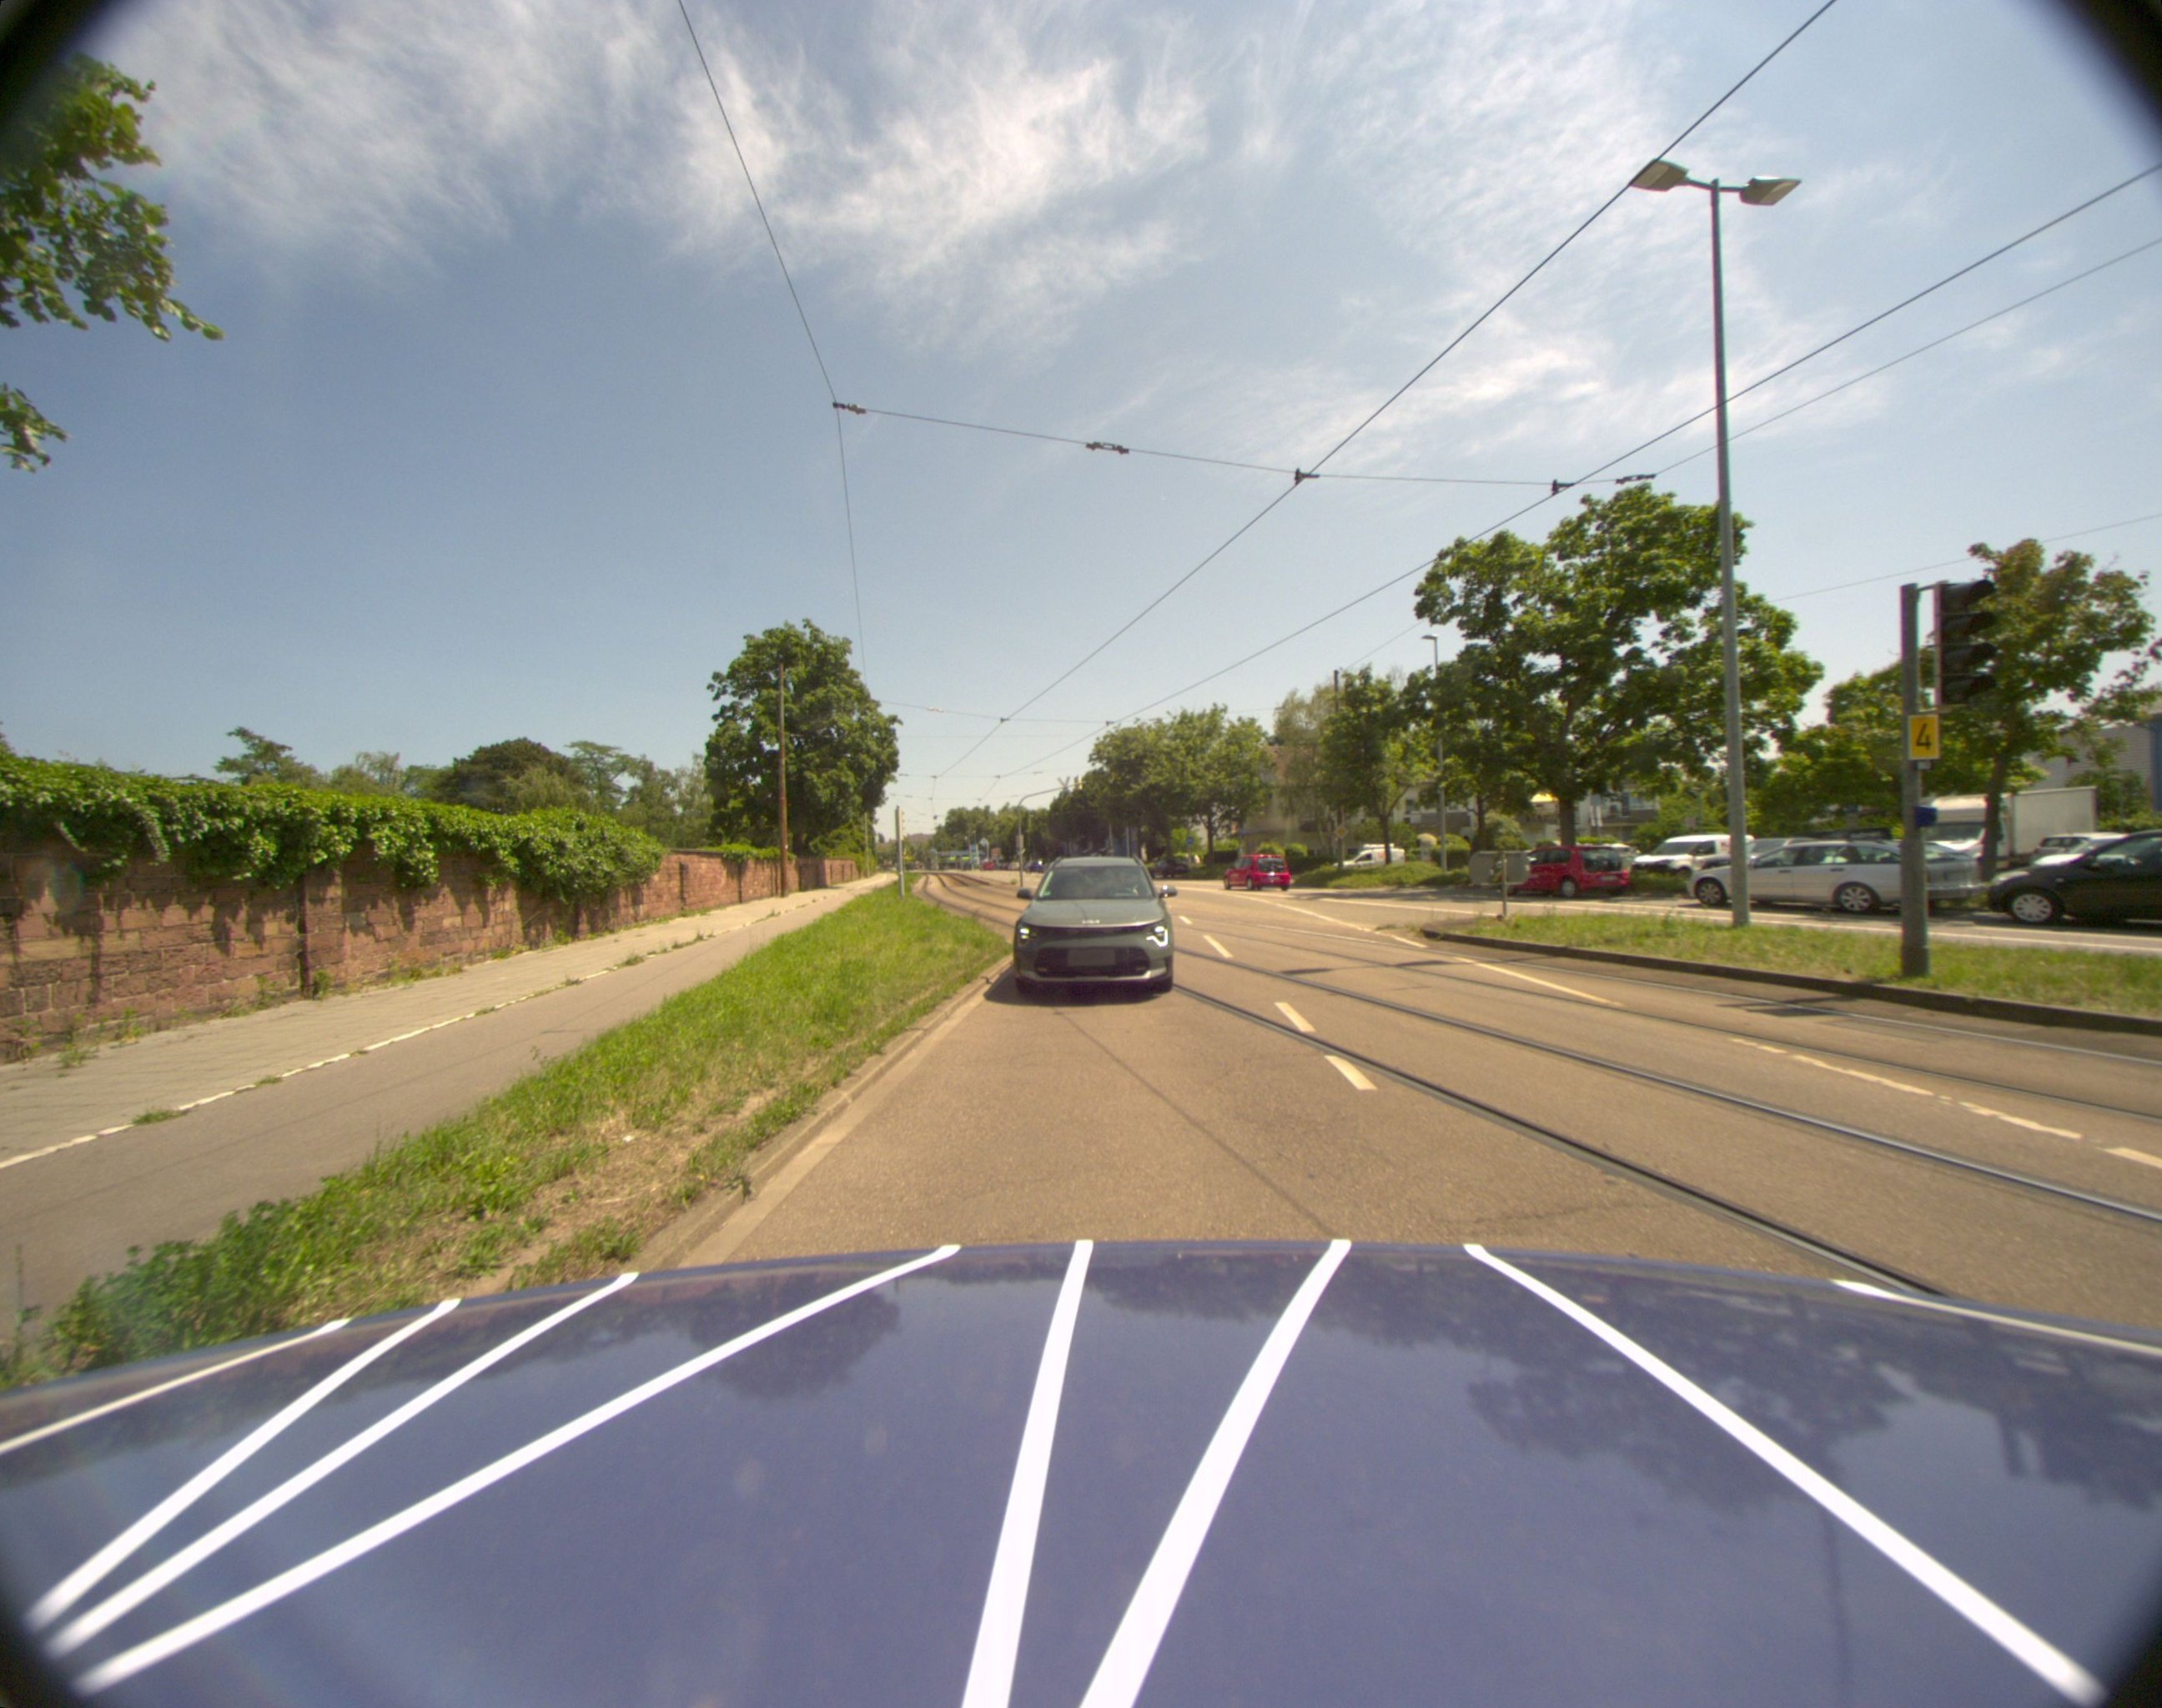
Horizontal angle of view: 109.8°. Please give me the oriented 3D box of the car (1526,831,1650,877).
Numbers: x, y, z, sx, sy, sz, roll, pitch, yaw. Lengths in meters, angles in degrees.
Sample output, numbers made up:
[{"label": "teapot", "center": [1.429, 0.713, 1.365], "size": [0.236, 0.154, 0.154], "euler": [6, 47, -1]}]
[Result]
[{"label": "car", "center": [22.647, -0.009, 34.031], "size": [4.463, 1.846, 2.059], "euler": [-2, 0, -11]}]

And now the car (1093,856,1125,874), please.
[{"label": "car", "center": [2.126, 0.854, 59.215], "size": [1.654, 1.368, 3.807], "euler": [0, 0, -11]}]

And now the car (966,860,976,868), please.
[{"label": "car", "center": [-24.871, 2.273, 172.115], "size": [1.925, 1.899, 4.566], "euler": [-1, 0, -11]}]

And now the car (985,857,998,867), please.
[{"label": "car", "center": [-17.272, 1.471, 146.774], "size": [1.906, 1.914, 4.814], "euler": [0, -1, -13]}]

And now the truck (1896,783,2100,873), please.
[{"label": "truck", "center": [36.222, -1.036, 30.051], "size": [7.002, 3.209, 2.148], "euler": [-2, 0, -13]}]

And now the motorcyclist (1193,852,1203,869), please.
[{"label": "motorcyclist", "center": [10.280, 0.585, 66.888], "size": [0.588, 1.494, 0.661], "euler": [-5, 1, -10]}]

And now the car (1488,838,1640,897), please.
[{"label": "car", "center": [13.930, 0.371, 22.184], "size": [1.677, 1.537, 3.724], "euler": [-2, 0, -9]}]

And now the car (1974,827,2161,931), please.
[{"label": "car", "center": [16.070, 0.335, 11.004], "size": [1.619, 1.476, 3.781], "euler": [-2, 0, -9]}]

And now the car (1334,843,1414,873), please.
[{"label": "car", "center": [17.854, 0.268, 46.494], "size": [4.231, 1.696, 1.742], "euler": [-2, 0, 4]}]

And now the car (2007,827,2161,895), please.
[{"label": "car", "center": [25.484, 0.101, 18.324], "size": [4.778, 1.480, 2.056], "euler": [-2, 0, -12]}]

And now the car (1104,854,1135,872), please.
[{"label": "car", "center": [3.815, 0.883, 75.927], "size": [1.977, 1.679, 4.683], "euler": [-3, 0, -10]}]

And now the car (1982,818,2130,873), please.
[{"label": "car", "center": [35.640, -0.297, 27.791], "size": [4.142, 1.810, 1.645], "euler": [-2, 0, -12]}]

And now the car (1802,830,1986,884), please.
[{"label": "car", "center": [25.393, 0.093, 23.805], "size": [4.135, 1.499, 1.930], "euler": [-2, 0, -9]}]

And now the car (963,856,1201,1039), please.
[{"label": "car", "center": [0.315, 0.856, 9.076], "size": [1.757, 1.574, 4.432], "euler": [-2, 0, 14]}]

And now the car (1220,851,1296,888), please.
[{"label": "car", "center": [7.245, 0.605, 31.431], "size": [1.663, 1.401, 3.602], "euler": [-2, 0, -11]}]

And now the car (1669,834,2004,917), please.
[{"label": "car", "center": [15.306, 0.385, 15.858], "size": [1.725, 1.418, 4.765], "euler": [-2, 0, -13]}]

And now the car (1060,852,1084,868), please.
[{"label": "car", "center": [-0.913, 0.616, 75.969], "size": [1.743, 1.566, 3.709], "euler": [-1, 0, -11]}]

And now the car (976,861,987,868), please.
[{"label": "car", "center": [-24.435, 2.553, 185.793], "size": [1.867, 1.487, 3.465], "euler": [-6, 1, -20]}]

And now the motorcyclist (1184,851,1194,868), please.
[{"label": "motorcyclist", "center": [9.803, 0.531, 69.088], "size": [0.588, 1.494, 0.724], "euler": [-5, 1, -10]}]

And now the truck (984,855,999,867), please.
[{"label": "truck", "center": [-20.640, 1.678, 174.763], "size": [2.137, 2.565, 4.856], "euler": [-6, 1, -20]}]

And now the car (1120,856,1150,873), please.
[{"label": "car", "center": [4.947, 0.939, 70.259], "size": [1.682, 1.478, 4.124], "euler": [-3, 0, -12]}]

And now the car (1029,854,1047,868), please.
[{"label": "car", "center": [-5.551, 0.894, 98.392], "size": [1.743, 1.647, 4.062], "euler": [-2, 0, -11]}]

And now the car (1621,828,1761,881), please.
[{"label": "car", "center": [22.945, -0.001, 28.629], "size": [4.281, 1.825, 1.671], "euler": [-2, 0, -10]}]

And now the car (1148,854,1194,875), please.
[{"label": "car", "center": [6.887, 0.796, 58.805], "size": [1.901, 1.448, 4.804], "euler": [-3, 0, -14]}]
